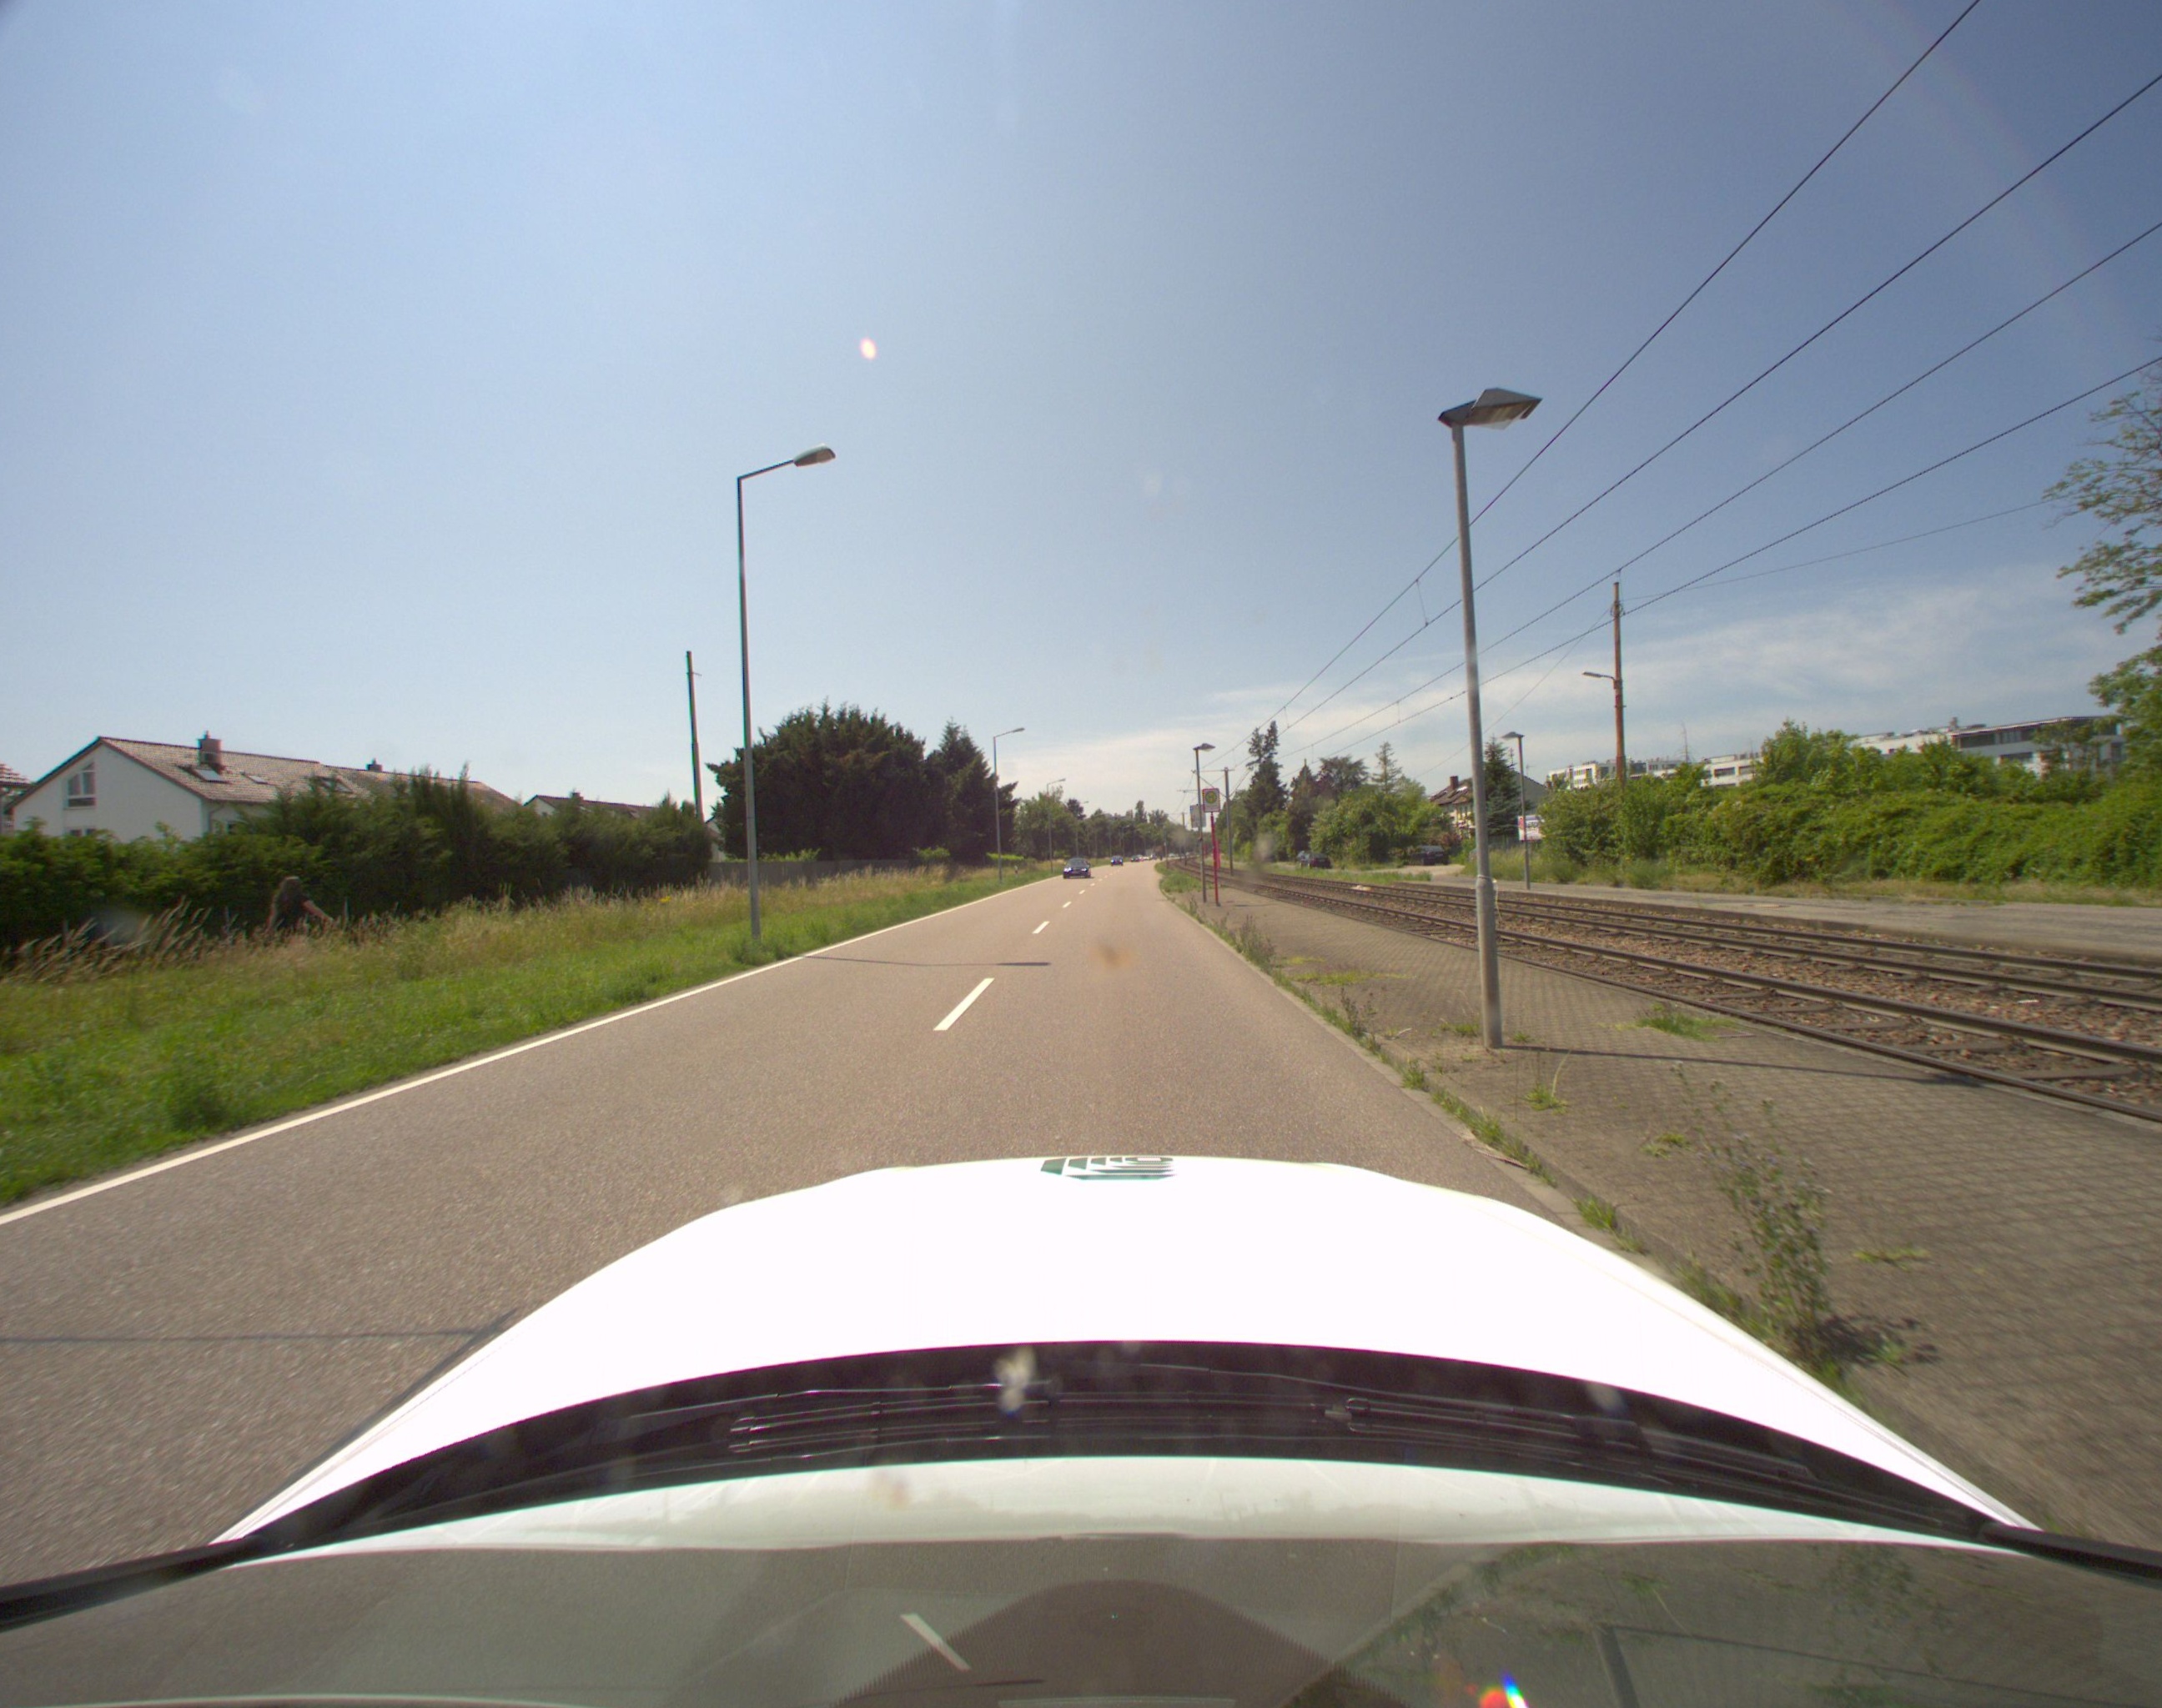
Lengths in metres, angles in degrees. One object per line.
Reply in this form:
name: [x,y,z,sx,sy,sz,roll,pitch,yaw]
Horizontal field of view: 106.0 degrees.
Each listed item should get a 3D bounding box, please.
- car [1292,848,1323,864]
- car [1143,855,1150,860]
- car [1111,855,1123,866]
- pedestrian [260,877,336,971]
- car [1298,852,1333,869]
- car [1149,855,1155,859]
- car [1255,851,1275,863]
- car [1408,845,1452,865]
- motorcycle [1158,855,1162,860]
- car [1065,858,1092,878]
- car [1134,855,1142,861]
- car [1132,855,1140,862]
car: [22.846,0.230,82.295,1.927,1.561,4.559,-2,0,2]
car: [17.938,0.922,222.364,1.674,1.249,3.915,-1,0,5]
car: [5.792,0.975,129.614,1.739,1.632,4.034,-2,0,4]
pedestrian: [-12.924,1.142,13.456,0.606,1.477,0.634,-2,-1,2]
car: [19.884,0.568,69.160,1.853,1.330,4.517,-2,0,2]
car: [21.011,0.869,241.689,1.740,1.301,4.260,-2,0,5]
car: [23.012,0.349,102.128,1.905,1.470,4.005,-2,0,5]
car: [25.624,0.089,59.849,1.713,1.419,3.742,-2,0,2]
motorcycle: [21.213,0.975,218.679,0.964,1.117,2.740,-2,0,9]
car: [-0.138,1.009,60.210,1.699,1.404,4.712,-2,0,3]
car: [14.254,0.962,202.991,1.738,1.503,3.712,-2,0,5]
car: [12.617,1.064,186.647,1.692,1.491,4.446,-2,0,5]
